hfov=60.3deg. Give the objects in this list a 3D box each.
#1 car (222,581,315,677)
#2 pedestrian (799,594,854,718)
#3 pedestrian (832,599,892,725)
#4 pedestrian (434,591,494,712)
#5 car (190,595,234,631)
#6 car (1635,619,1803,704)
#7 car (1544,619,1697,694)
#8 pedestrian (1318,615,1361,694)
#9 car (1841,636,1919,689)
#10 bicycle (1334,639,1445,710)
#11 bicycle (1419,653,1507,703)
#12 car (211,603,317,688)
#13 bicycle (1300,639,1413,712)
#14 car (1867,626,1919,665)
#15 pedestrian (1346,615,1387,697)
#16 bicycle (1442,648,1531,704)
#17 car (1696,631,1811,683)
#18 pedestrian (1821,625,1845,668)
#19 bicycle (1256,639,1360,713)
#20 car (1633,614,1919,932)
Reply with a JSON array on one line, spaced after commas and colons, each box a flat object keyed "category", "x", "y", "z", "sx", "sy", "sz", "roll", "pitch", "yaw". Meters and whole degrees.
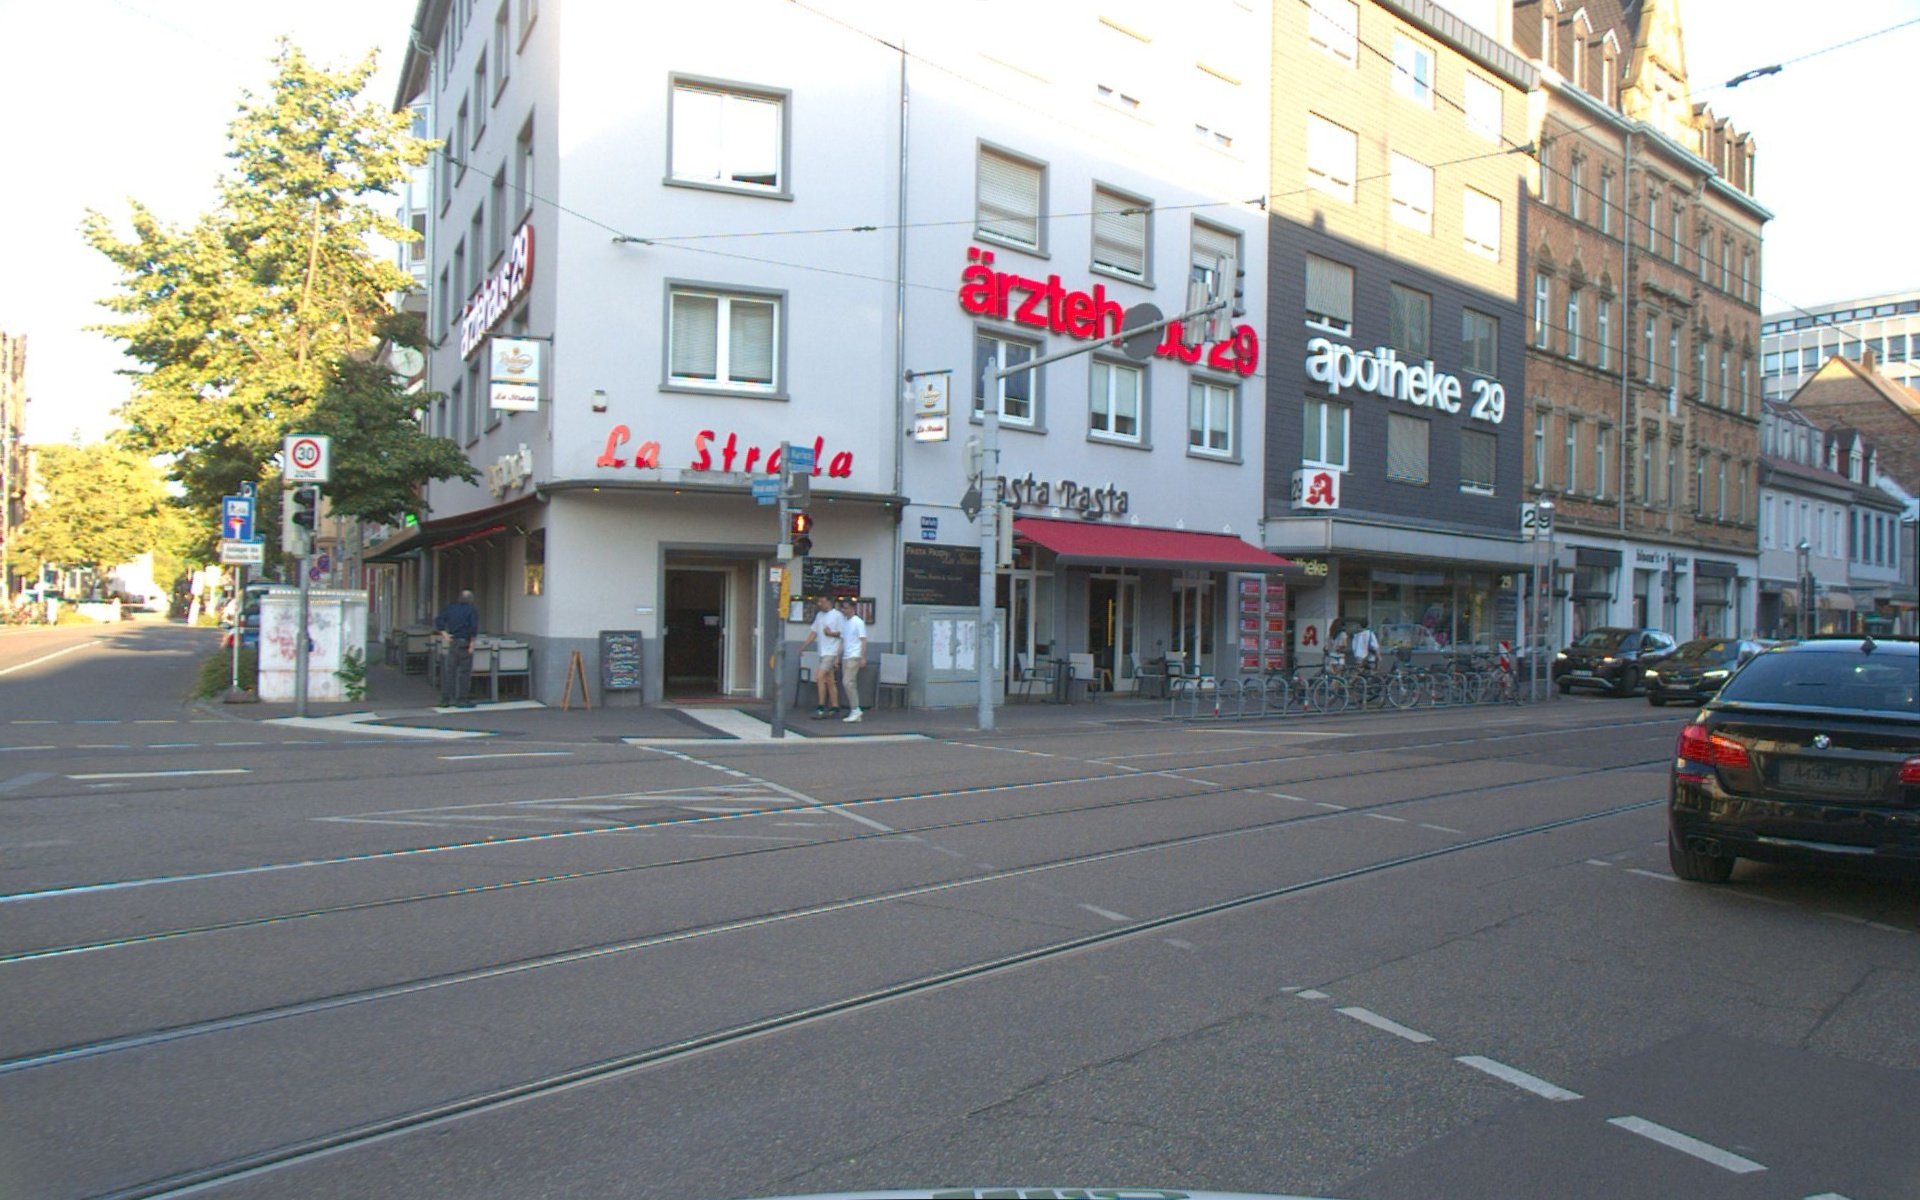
[{"category": "car", "x": -15.131, "y": 0.608, "z": 36.342, "sx": 1.616, "sy": 1.906, "sz": 3.585, "roll": 4, "pitch": -1, "yaw": -21}, {"category": "pedestrian", "x": -1.972, "y": 0.819, "z": 24.398, "sx": 0.591, "sy": 1.810, "sz": 0.633, "roll": 1, "pitch": -1, "yaw": -25}, {"category": "pedestrian", "x": -1.419, "y": 0.886, "z": 23.875, "sx": 0.658, "sy": 1.775, "sz": 0.633, "roll": 1, "pitch": -1, "yaw": -25}, {"category": "pedestrian", "x": -7.131, "y": 0.730, "z": 23.769, "sx": 0.702, "sy": 1.706, "sz": 0.698, "roll": 1, "pitch": -1, "yaw": -24}, {"category": "car", "x": -39.609, "y": 0.710, "z": 87.685, "sx": 1.825, "sy": 1.825, "sz": 3.975, "roll": 2, "pitch": -1, "yaw": -21}, {"category": "car", "x": 16.953, "y": 1.360, "z": 36.837, "sx": 1.966, "sy": 1.758, "sz": 4.695, "roll": -2, "pitch": -3, "yaw": 43}, {"category": "car", "x": 16.602, "y": 1.385, "z": 41.446, "sx": 1.905, "sy": 1.704, "sz": 4.612, "roll": 2, "pitch": 0, "yaw": 45}, {"category": "pedestrian", "x": 8.271, "y": 1.178, "z": 36.040, "sx": 0.672, "sy": 1.690, "sz": 0.620, "roll": 1, "pitch": 0, "yaw": 43}, {"category": "car", "x": 28.285, "y": 1.866, "z": 49.881, "sx": 1.965, "sy": 1.478, "sz": 4.626, "roll": 0, "pitch": -1, "yaw": 43}, {"category": "bicycle", "x": 8.505, "y": 1.460, "z": 32.805, "sx": 2.083, "sy": 1.245, "sz": 0.549, "roll": 4, "pitch": 2, "yaw": 44}, {"category": "bicycle", "x": 10.837, "y": 1.677, "z": 35.699, "sx": 1.780, "sy": 0.928, "sz": 0.453, "roll": 3, "pitch": 3, "yaw": 44}, {"category": "car", "x": -12.721, "y": 0.800, "z": 30.374, "sx": 1.616, "sy": 1.469, "sz": 3.584, "roll": 1, "pitch": -1, "yaw": -21}, {"category": "bicycle", "x": 7.619, "y": 1.437, "z": 31.865, "sx": 2.083, "sy": 1.245, "sz": 0.549, "roll": 3, "pitch": 1, "yaw": 44}, {"category": "car", "x": 36.269, "y": 1.763, "z": 63.609, "sx": 1.576, "sy": 1.465, "sz": 3.787, "roll": -1, "pitch": -3, "yaw": 43}, {"category": "pedestrian", "x": 8.741, "y": 1.186, "z": 35.560, "sx": 0.611, "sy": 1.729, "sz": 0.598, "roll": 1, "pitch": 0, "yaw": 43}, {"category": "bicycle", "x": 11.500, "y": 1.647, "z": 36.185, "sx": 1.806, "sy": 1.065, "sz": 0.486, "roll": 3, "pitch": 3, "yaw": 44}, {"category": "car", "x": 24.153, "y": 1.727, "z": 50.263, "sx": 1.843, "sy": 1.478, "sz": 4.579, "roll": 0, "pitch": -1, "yaw": 44}, {"category": "pedestrian", "x": 34.420, "y": 1.836, "z": 65.220, "sx": 0.653, "sy": 1.673, "sz": 0.690, "roll": 1, "pitch": -1, "yaw": 43}, {"category": "bicycle", "x": 6.474, "y": 1.407, "z": 30.849, "sx": 1.865, "sy": 1.232, "sz": 0.549, "roll": 3, "pitch": 1, "yaw": 44}, {"category": "car", "x": 5.767, "y": 0.933, "z": 10.167, "sx": 1.922, "sy": 1.524, "sz": 4.445, "roll": 2, "pitch": -1, "yaw": 37}]
